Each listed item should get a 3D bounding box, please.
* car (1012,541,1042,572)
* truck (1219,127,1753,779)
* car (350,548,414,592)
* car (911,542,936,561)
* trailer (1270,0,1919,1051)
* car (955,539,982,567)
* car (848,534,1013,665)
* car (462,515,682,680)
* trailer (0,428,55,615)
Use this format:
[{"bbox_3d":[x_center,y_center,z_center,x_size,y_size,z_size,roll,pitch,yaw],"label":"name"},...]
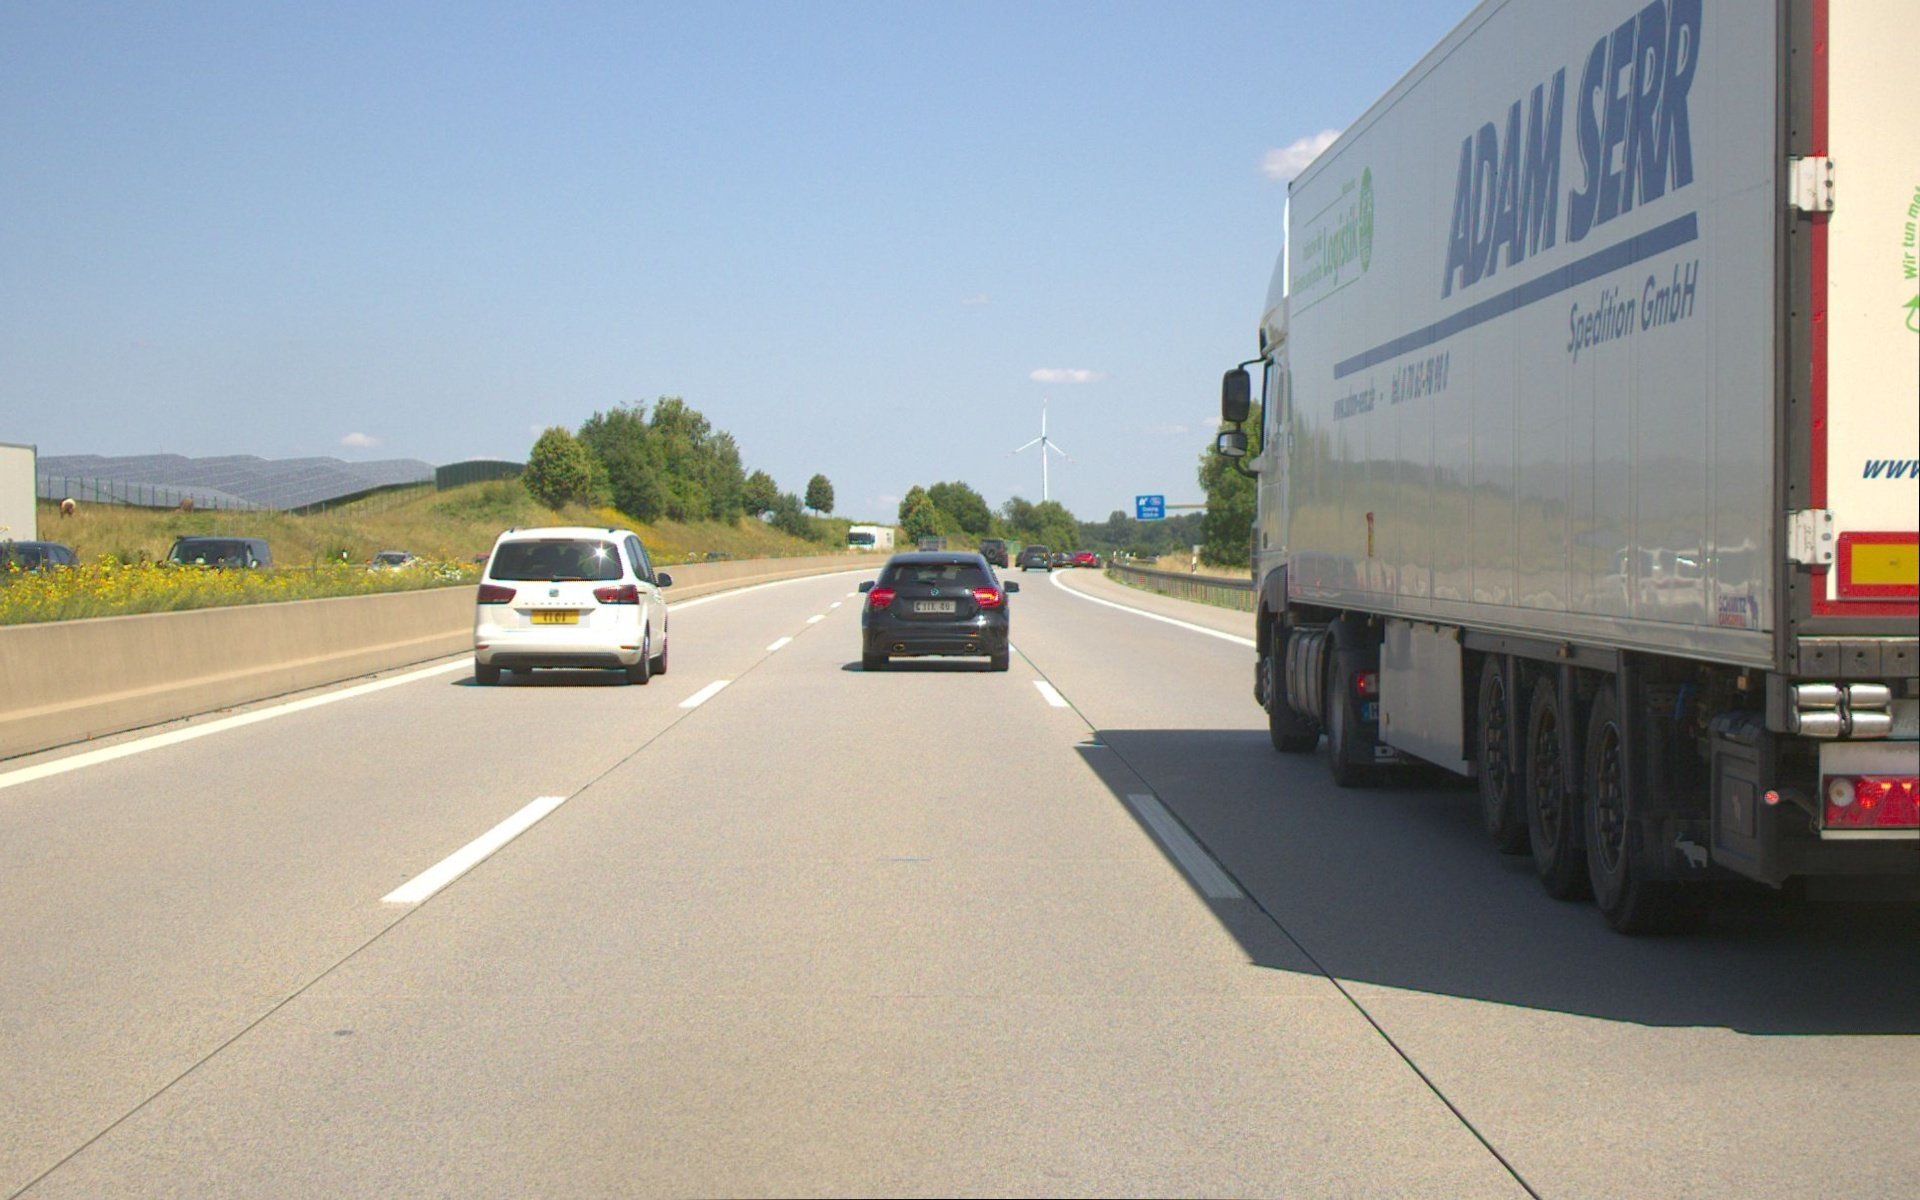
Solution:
[{"bbox_3d":[4.188,-2.721,213.939,1.827,1.900,4.000,0,1,1],"label":"car"},{"bbox_3d":[3.532,-0.974,24.556,2.812,4.074,5.799,1,1,-1],"label":"truck"},{"bbox_3d":[-21.341,-1.105,126.972,1.649,1.546,3.968,2,1,0],"label":"car"},{"bbox_3d":[-2.501,-3.336,237.082,1.655,1.192,3.960,3,1,-1],"label":"car"},{"bbox_3d":[3.635,-0.801,16.352,2.852,4.029,12.714,1,1,-1],"label":"trailer"},{"bbox_3d":[0.566,-3.243,236.386,1.827,1.931,3.809,0,1,0],"label":"car"},{"bbox_3d":[-0.413,-0.047,42.493,1.910,1.487,4.192,1,1,-2],"label":"car"},{"bbox_3d":[-4.296,-0.056,38.947,1.845,1.702,6.036,1,1,-1],"label":"car"},{"bbox_3d":[-21.941,-1.662,70.588,3.090,3.991,14.141,1,1,-1],"label":"trailer"}]
